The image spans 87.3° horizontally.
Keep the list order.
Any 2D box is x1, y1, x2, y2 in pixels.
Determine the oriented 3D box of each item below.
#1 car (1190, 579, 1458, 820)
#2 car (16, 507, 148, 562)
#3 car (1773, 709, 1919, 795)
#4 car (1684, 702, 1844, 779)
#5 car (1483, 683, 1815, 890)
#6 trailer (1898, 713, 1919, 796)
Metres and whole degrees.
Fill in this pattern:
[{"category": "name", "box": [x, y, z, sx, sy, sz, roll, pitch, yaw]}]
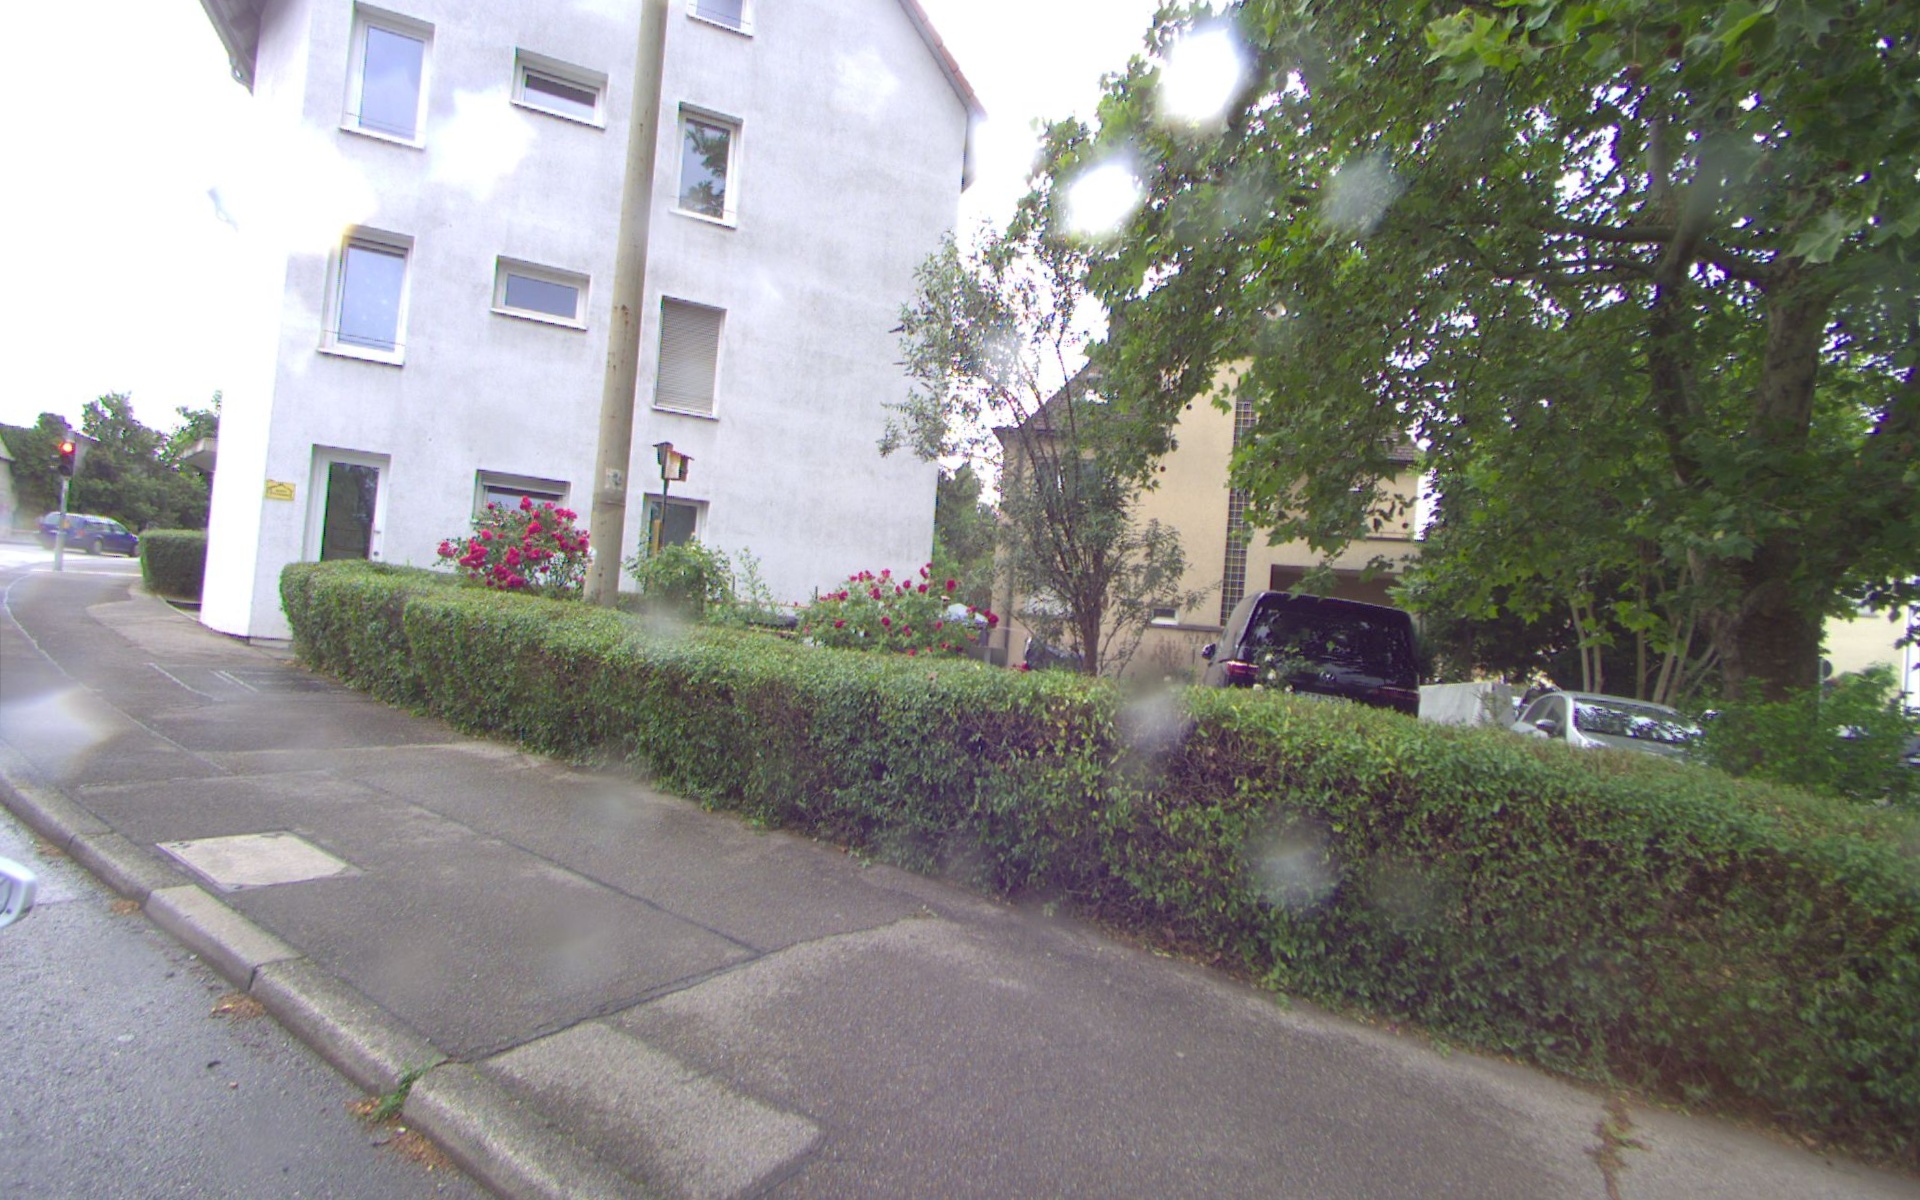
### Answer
[{"category": "car", "box": [3.773, 0.988, 11.292, 1.962, 1.955, 4.419, 6, -1, 11]}, {"category": "car", "box": [-33.592, -2.443, 38.644, 1.967, 1.536, 3.994, 6, -2, -12]}, {"category": "car", "box": [25.279, 4.203, 27.978, 1.962, 1.861, 4.584, 6, -1, 9]}, {"category": "car", "box": [26.363, 4.543, 33.223, 1.962, 1.861, 4.584, 6, -1, 9]}, {"category": "car", "box": [7.401, 1.876, 11.336, 1.788, 1.599, 4.003, 6, -2, 16]}, {"category": "trailer", "box": [24.735, 3.916, 23.964, 1.640, 2.037, 3.494, 6, -1, 8]}]
